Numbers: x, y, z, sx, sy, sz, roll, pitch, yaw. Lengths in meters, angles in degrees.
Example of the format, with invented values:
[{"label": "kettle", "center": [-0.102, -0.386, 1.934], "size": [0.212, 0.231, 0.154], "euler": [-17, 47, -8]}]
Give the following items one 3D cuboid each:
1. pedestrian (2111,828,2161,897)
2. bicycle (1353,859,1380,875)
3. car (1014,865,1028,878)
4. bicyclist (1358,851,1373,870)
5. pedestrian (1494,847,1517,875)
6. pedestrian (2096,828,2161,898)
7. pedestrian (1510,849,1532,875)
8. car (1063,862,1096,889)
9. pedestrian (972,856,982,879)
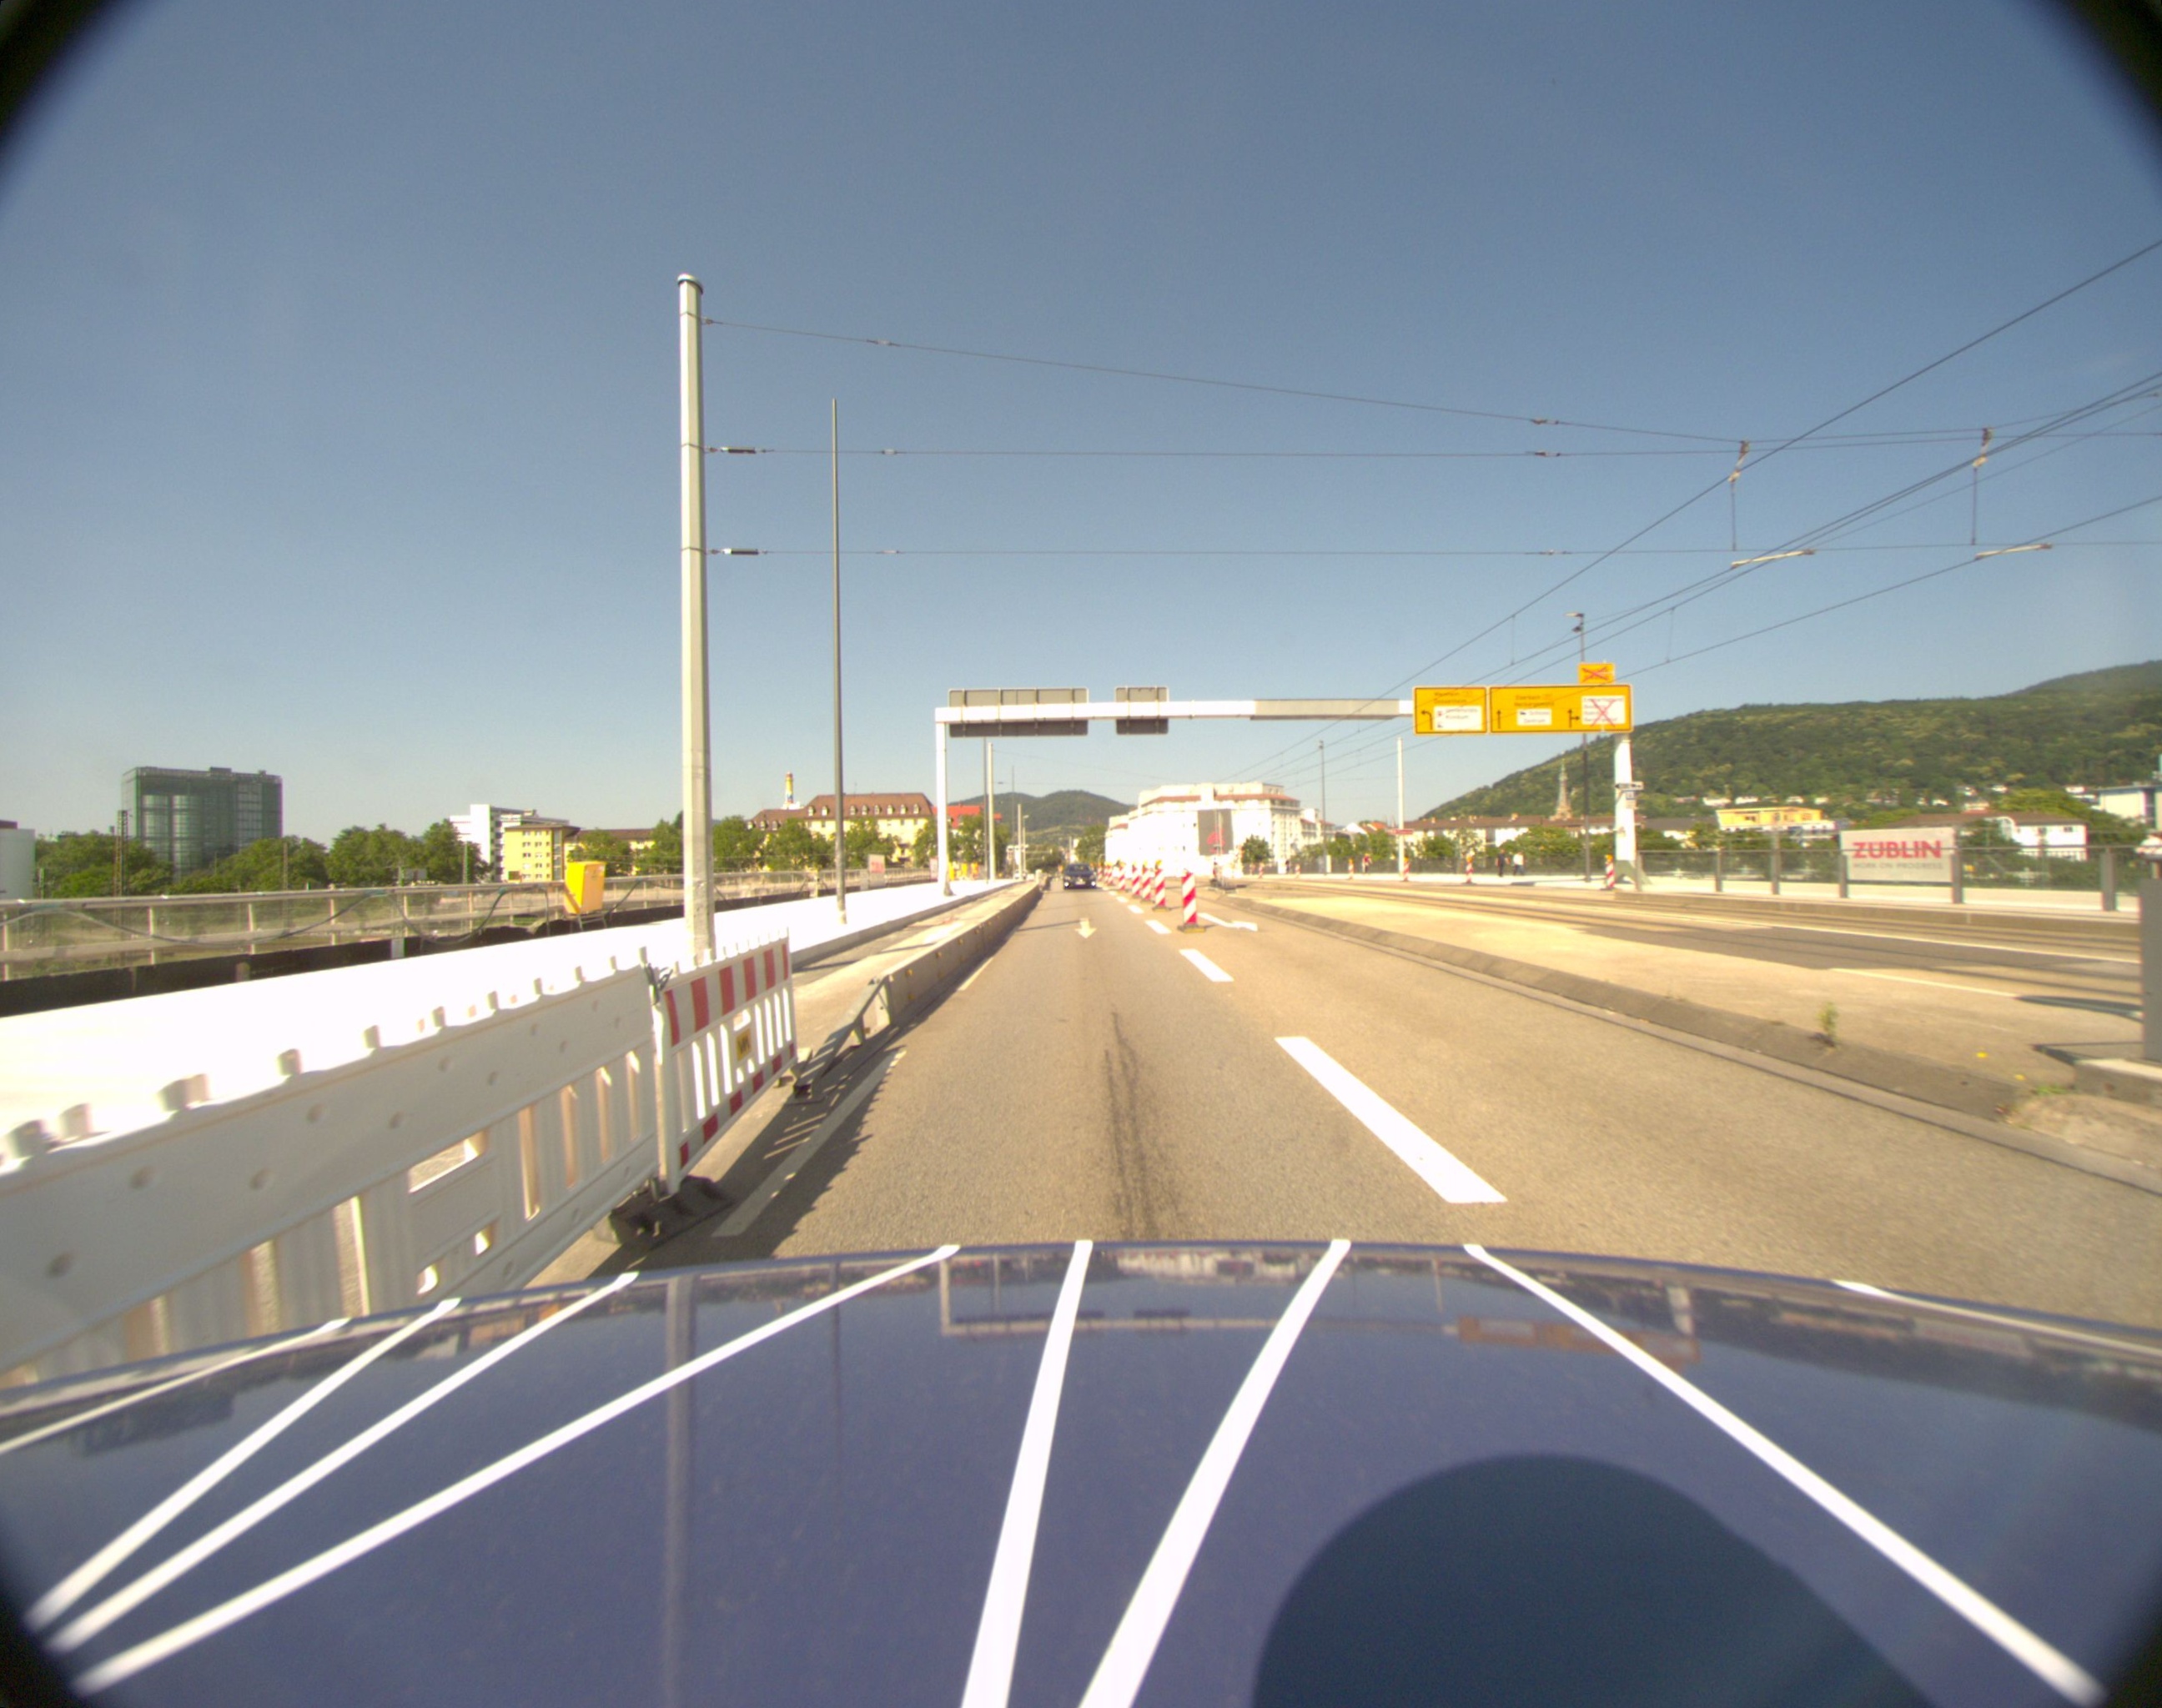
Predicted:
[{"label": "pedestrian", "center": [26.514, 0.205, 18.923], "size": [0.599, 1.677, 0.818], "euler": [-1, 0, 1]}, {"label": "bicycle", "center": [23.304, 1.059, 62.107], "size": [0.858, 1.187, 3.072], "euler": [-2, -1, -3]}, {"label": "car", "center": [-9.943, 2.937, 126.464], "size": [1.938, 2.077, 6.472], "euler": [-1, -2, -1]}, {"label": "bicyclist", "center": [23.274, 0.537, 62.097], "size": [0.858, 1.510, 0.817], "euler": [-2, 0, -3]}, {"label": "pedestrian", "center": [25.528, 0.452, 45.720], "size": [0.745, 1.632, 0.895], "euler": [-3, 0, -2]}, {"label": "pedestrian", "center": [25.842, 0.220, 18.740], "size": [0.487, 1.677, 0.808], "euler": [-1, 0, 1]}, {"label": "pedestrian", "center": [26.398, 0.475, 45.593], "size": [0.721, 1.535, 0.889], "euler": [-3, 0, -2]}, {"label": "car", "center": [-0.076, 1.163, 42.677], "size": [1.698, 1.388, 4.363], "euler": [-3, -1, -1]}, {"label": "pedestrian", "center": [-8.887, 1.182, 64.881], "size": [0.733, 1.953, 1.016], "euler": [0, -1, -2]}]
